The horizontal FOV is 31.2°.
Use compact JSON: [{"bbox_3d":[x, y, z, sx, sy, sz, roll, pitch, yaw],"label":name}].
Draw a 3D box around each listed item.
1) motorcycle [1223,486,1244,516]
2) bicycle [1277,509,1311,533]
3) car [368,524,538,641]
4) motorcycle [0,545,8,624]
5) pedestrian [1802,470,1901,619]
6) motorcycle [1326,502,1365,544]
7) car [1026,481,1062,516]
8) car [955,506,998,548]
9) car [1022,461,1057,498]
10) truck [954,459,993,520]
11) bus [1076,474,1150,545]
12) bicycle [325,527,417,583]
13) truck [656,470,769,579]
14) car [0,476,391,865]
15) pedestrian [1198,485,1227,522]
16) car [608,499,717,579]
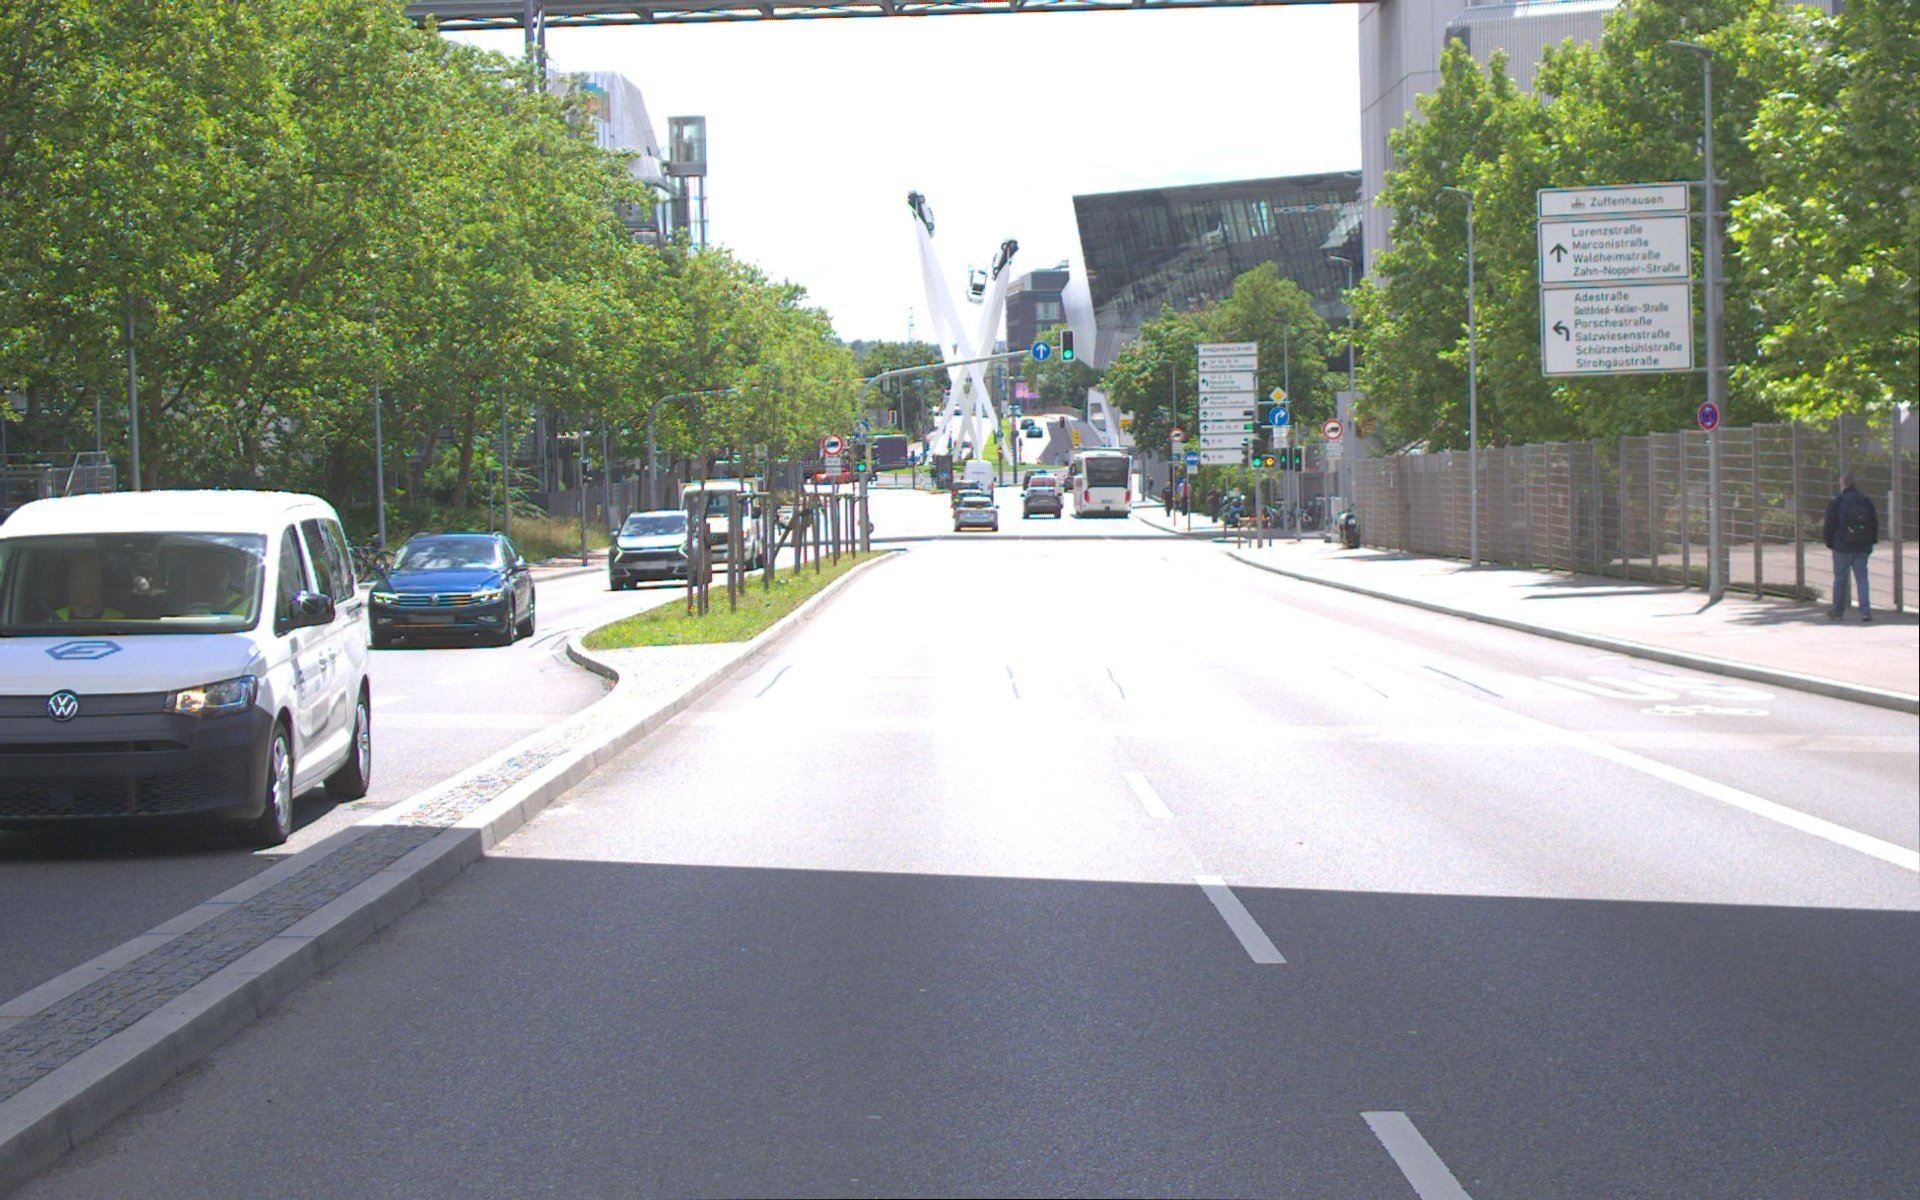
[{"bbox_3d":[11.165,-4.039,140.215,0.706,1.199,2.024,-2,2,1],"label":"motorcycle"},{"bbox_3d":[13.044,-3.086,134.267,0.397,0.933,1.929,-1,2,-24],"label":"bicycle"},{"bbox_3d":[-6.689,-0.274,45.758,1.709,1.448,4.480,-1,1,-2],"label":"car"},{"bbox_3d":[-15.260,-0.240,51.316,1.878,1.169,0.745,2,3,10],"label":"motorcycle"},{"bbox_3d":[10.782,-0.678,41.605,0.877,1.737,0.941,-3,1,0],"label":"pedestrian"},{"bbox_3d":[10.822,-2.168,96.537,0.692,1.154,2.148,-2,2,-3],"label":"motorcycle"},{"bbox_3d":[4.191,-5.054,171.630,1.738,1.735,3.691,0,2,1],"label":"car"},{"bbox_3d":[0.714,-3.081,144.193,1.738,1.735,3.691,0,2,1],"label":"car"},{"bbox_3d":[4.604,-6.947,198.927,1.993,2.007,4.000,1,0,1],"label":"car"},{"bbox_3d":[0.895,-7.177,223.190,2.392,3.884,6.177,0,2,1],"label":"truck"},{"bbox_3d":[7.866,-4.720,178.534,3.452,3.531,10.607,0,2,0],"label":"bus"},{"bbox_3d":[-14.554,-1.116,84.967,2.167,1.359,0.490,0,1,3],"label":"bicycle"},{"bbox_3d":[-6.516,-2.021,91.300,2.479,2.741,6.459,-1,1,0],"label":"truck"},{"bbox_3d":[-4.234,0.274,18.305,1.808,1.774,4.979,-1,1,-3],"label":"car"},{"bbox_3d":[11.074,-4.248,150.862,0.849,1.619,0.954,1,2,43],"label":"pedestrian"},{"bbox_3d":[-6.294,-1.312,73.093,1.905,1.625,4.293,0,1,0],"label":"car"}]
